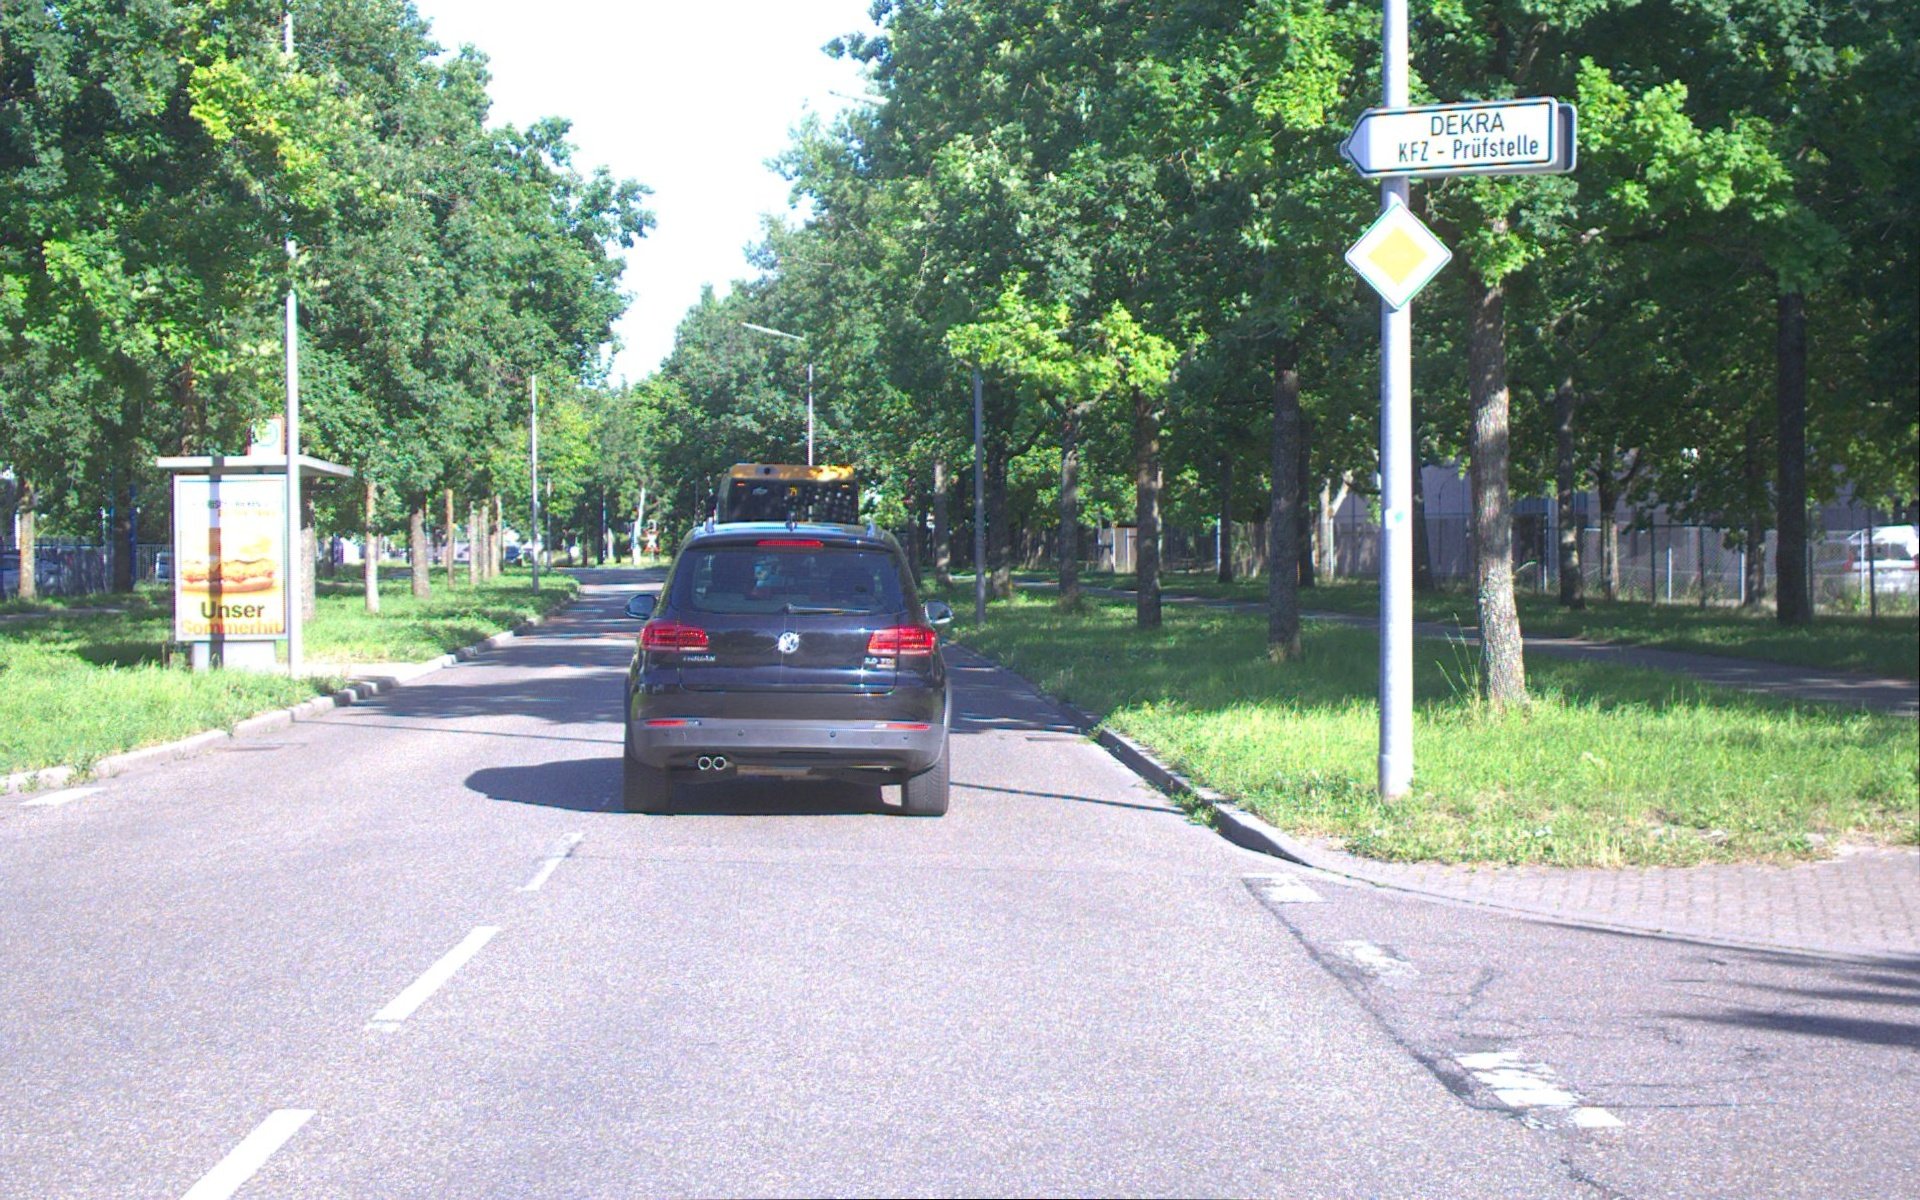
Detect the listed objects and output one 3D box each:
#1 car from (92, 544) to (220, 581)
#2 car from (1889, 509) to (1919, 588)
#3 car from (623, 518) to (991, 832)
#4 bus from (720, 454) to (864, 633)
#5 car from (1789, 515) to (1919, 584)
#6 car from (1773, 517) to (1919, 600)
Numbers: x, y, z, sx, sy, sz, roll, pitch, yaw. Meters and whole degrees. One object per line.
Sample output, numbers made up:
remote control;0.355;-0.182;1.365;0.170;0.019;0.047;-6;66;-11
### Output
car;-29.319;-1.382;125.437;4.198;1.317;1.941;0;1;2
car;22.210;-1.138;75.198;2.184;1.738;4.642;0;1;-5
car;-0.953;0.353;20.629;1.936;1.650;4.428;1;1;-3
bus;-3.497;-1.199;71.703;2.764;3.445;11.212;0;1;-3
car;24.052;-1.322;88.869;4.625;1.738;2.192;0;1;-9
car;19.578;-0.924;75.138;2.184;1.738;4.642;0;1;-5
